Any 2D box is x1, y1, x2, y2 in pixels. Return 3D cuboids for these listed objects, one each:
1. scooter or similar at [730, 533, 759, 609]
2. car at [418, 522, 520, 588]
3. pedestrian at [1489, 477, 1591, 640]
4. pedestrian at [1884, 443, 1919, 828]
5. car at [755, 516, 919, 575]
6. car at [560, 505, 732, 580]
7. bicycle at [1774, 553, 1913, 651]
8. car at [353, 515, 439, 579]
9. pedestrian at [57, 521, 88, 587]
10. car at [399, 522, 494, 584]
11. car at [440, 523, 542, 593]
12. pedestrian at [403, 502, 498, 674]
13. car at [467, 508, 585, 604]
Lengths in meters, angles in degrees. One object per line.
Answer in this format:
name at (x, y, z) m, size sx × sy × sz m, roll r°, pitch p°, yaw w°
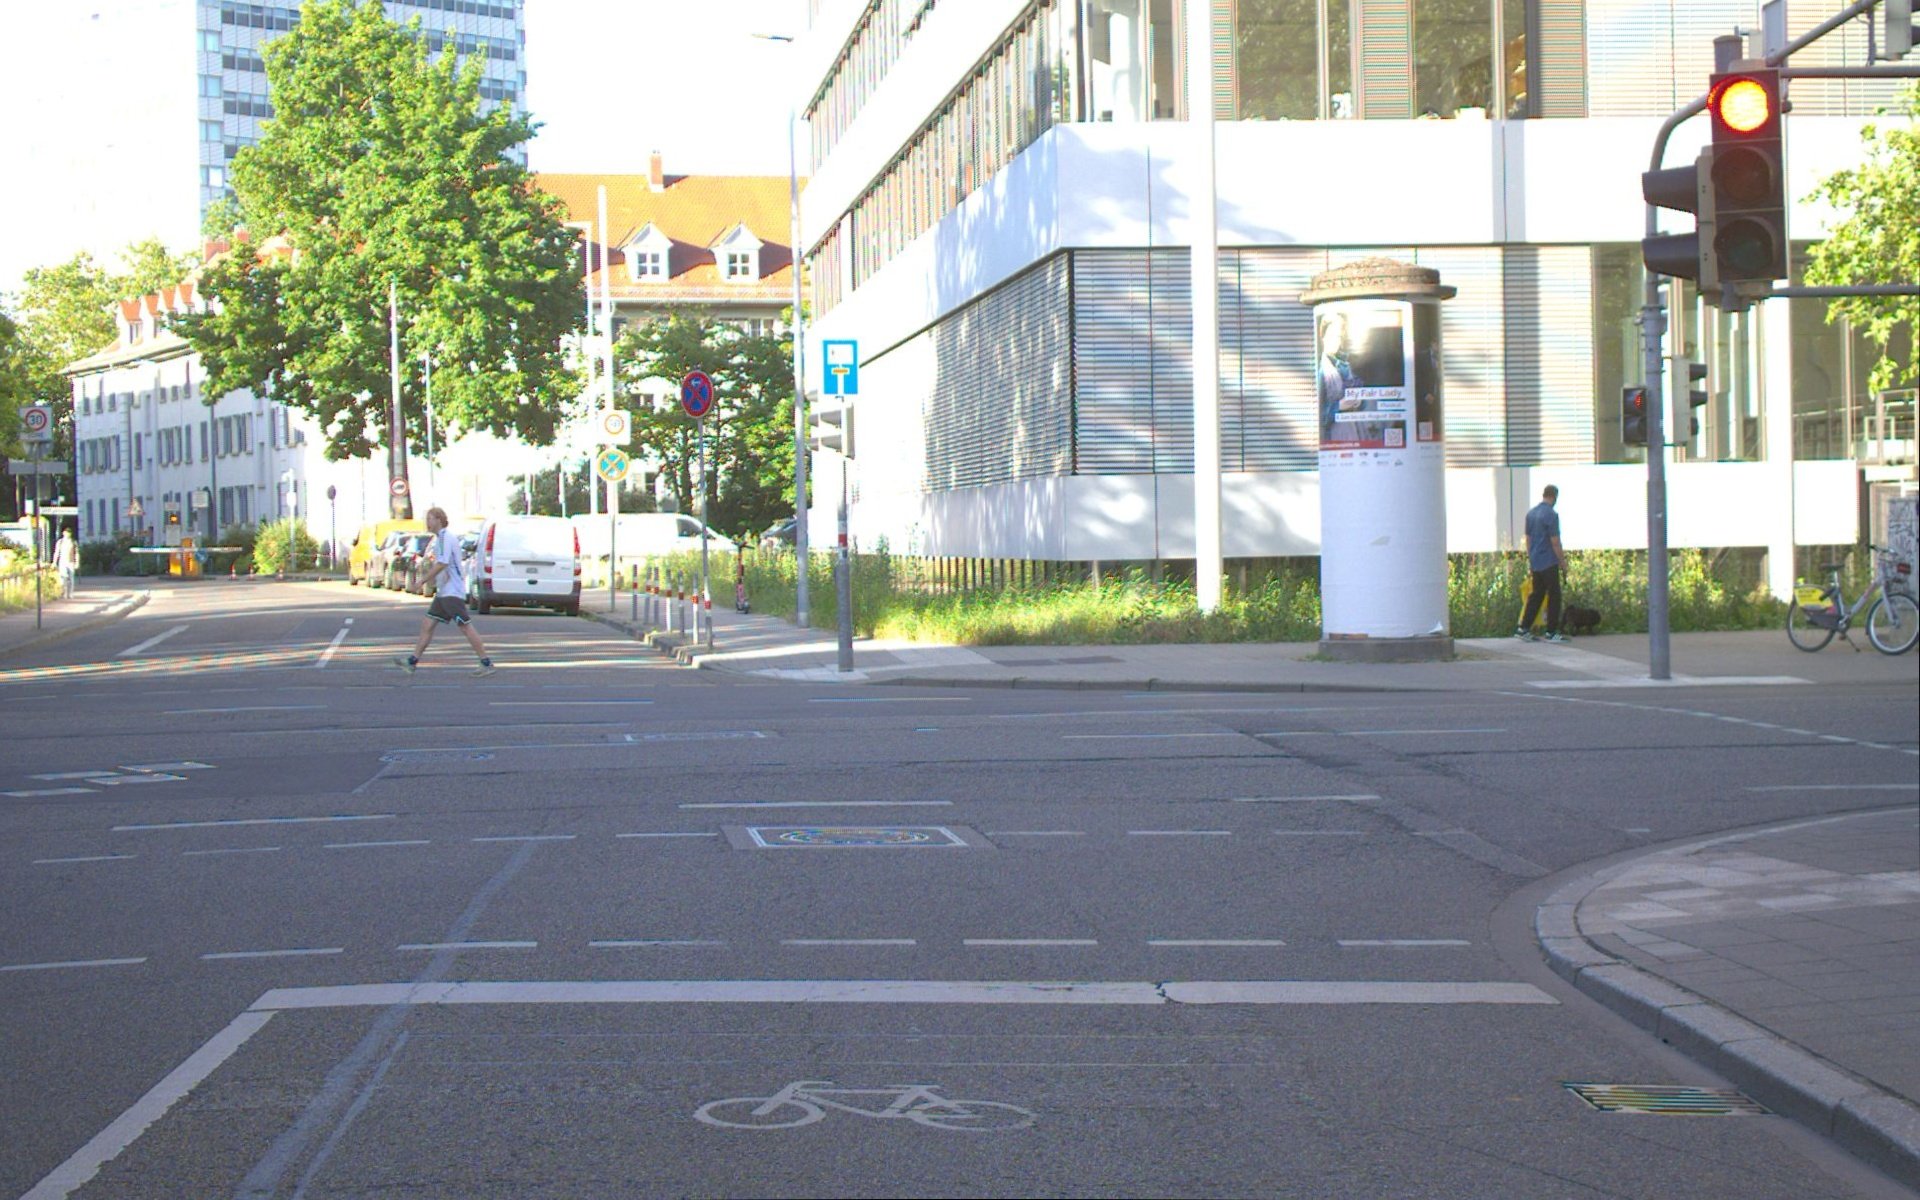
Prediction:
scooter or similar at (-3.657, -0.499, 58.299) m, size 0.437 × 1.252 × 1.420 m, roll -1°, pitch 1°, yaw -4°
car at (-11.626, -1.071, 81.261) m, size 1.993 × 1.493 × 4.288 m, roll 1°, pitch 1°, yaw -13°
pedestrian at (6.564, -0.467, 38.933) m, size 0.914 × 1.809 × 0.762 m, roll 1°, pitch 0°, yaw -8°
pedestrian at (4.831, 0.167, 16.336) m, size 0.700 × 1.804 × 0.719 m, roll 1°, pitch 0°, yaw 26°
car at (-3.757, -1.654, 104.782) m, size 4.635 × 1.719 × 2.001 m, roll 1°, pitch 1°, yaw -16°
car at (-9.404, -1.723, 102.937) m, size 4.791 × 2.151 × 2.001 m, roll 1°, pitch 0°, yaw -17°
bicycle at (9.288, 0.011, 36.156) m, size 0.378 × 1.005 × 1.432 m, roll -2°, pitch 2°, yaw -42°
car at (-15.740, -1.465, 95.841) m, size 1.993 × 1.719 × 4.653 m, roll 1°, pitch 1°, yaw -14°
pedestrian at (-21.660, -1.117, 83.885) m, size 0.699 × 1.581 × 0.637 m, roll 1°, pitch 0°, yaw -16°
car at (-12.880, -1.176, 85.985) m, size 1.993 × 1.493 × 4.653 m, roll 1°, pitch 1°, yaw -13°
car at (-10.504, -0.945, 76.815) m, size 1.993 × 1.493 × 4.653 m, roll 1°, pitch 1°, yaw -11°
pedestrian at (-5.601, -0.132, 37.820) m, size 0.914 × 1.862 × 0.742 m, roll 1°, pitch 0°, yaw -1°
car at (-8.218, -0.823, 64.829) m, size 1.993 × 1.719 × 4.653 m, roll 1°, pitch 1°, yaw -10°
